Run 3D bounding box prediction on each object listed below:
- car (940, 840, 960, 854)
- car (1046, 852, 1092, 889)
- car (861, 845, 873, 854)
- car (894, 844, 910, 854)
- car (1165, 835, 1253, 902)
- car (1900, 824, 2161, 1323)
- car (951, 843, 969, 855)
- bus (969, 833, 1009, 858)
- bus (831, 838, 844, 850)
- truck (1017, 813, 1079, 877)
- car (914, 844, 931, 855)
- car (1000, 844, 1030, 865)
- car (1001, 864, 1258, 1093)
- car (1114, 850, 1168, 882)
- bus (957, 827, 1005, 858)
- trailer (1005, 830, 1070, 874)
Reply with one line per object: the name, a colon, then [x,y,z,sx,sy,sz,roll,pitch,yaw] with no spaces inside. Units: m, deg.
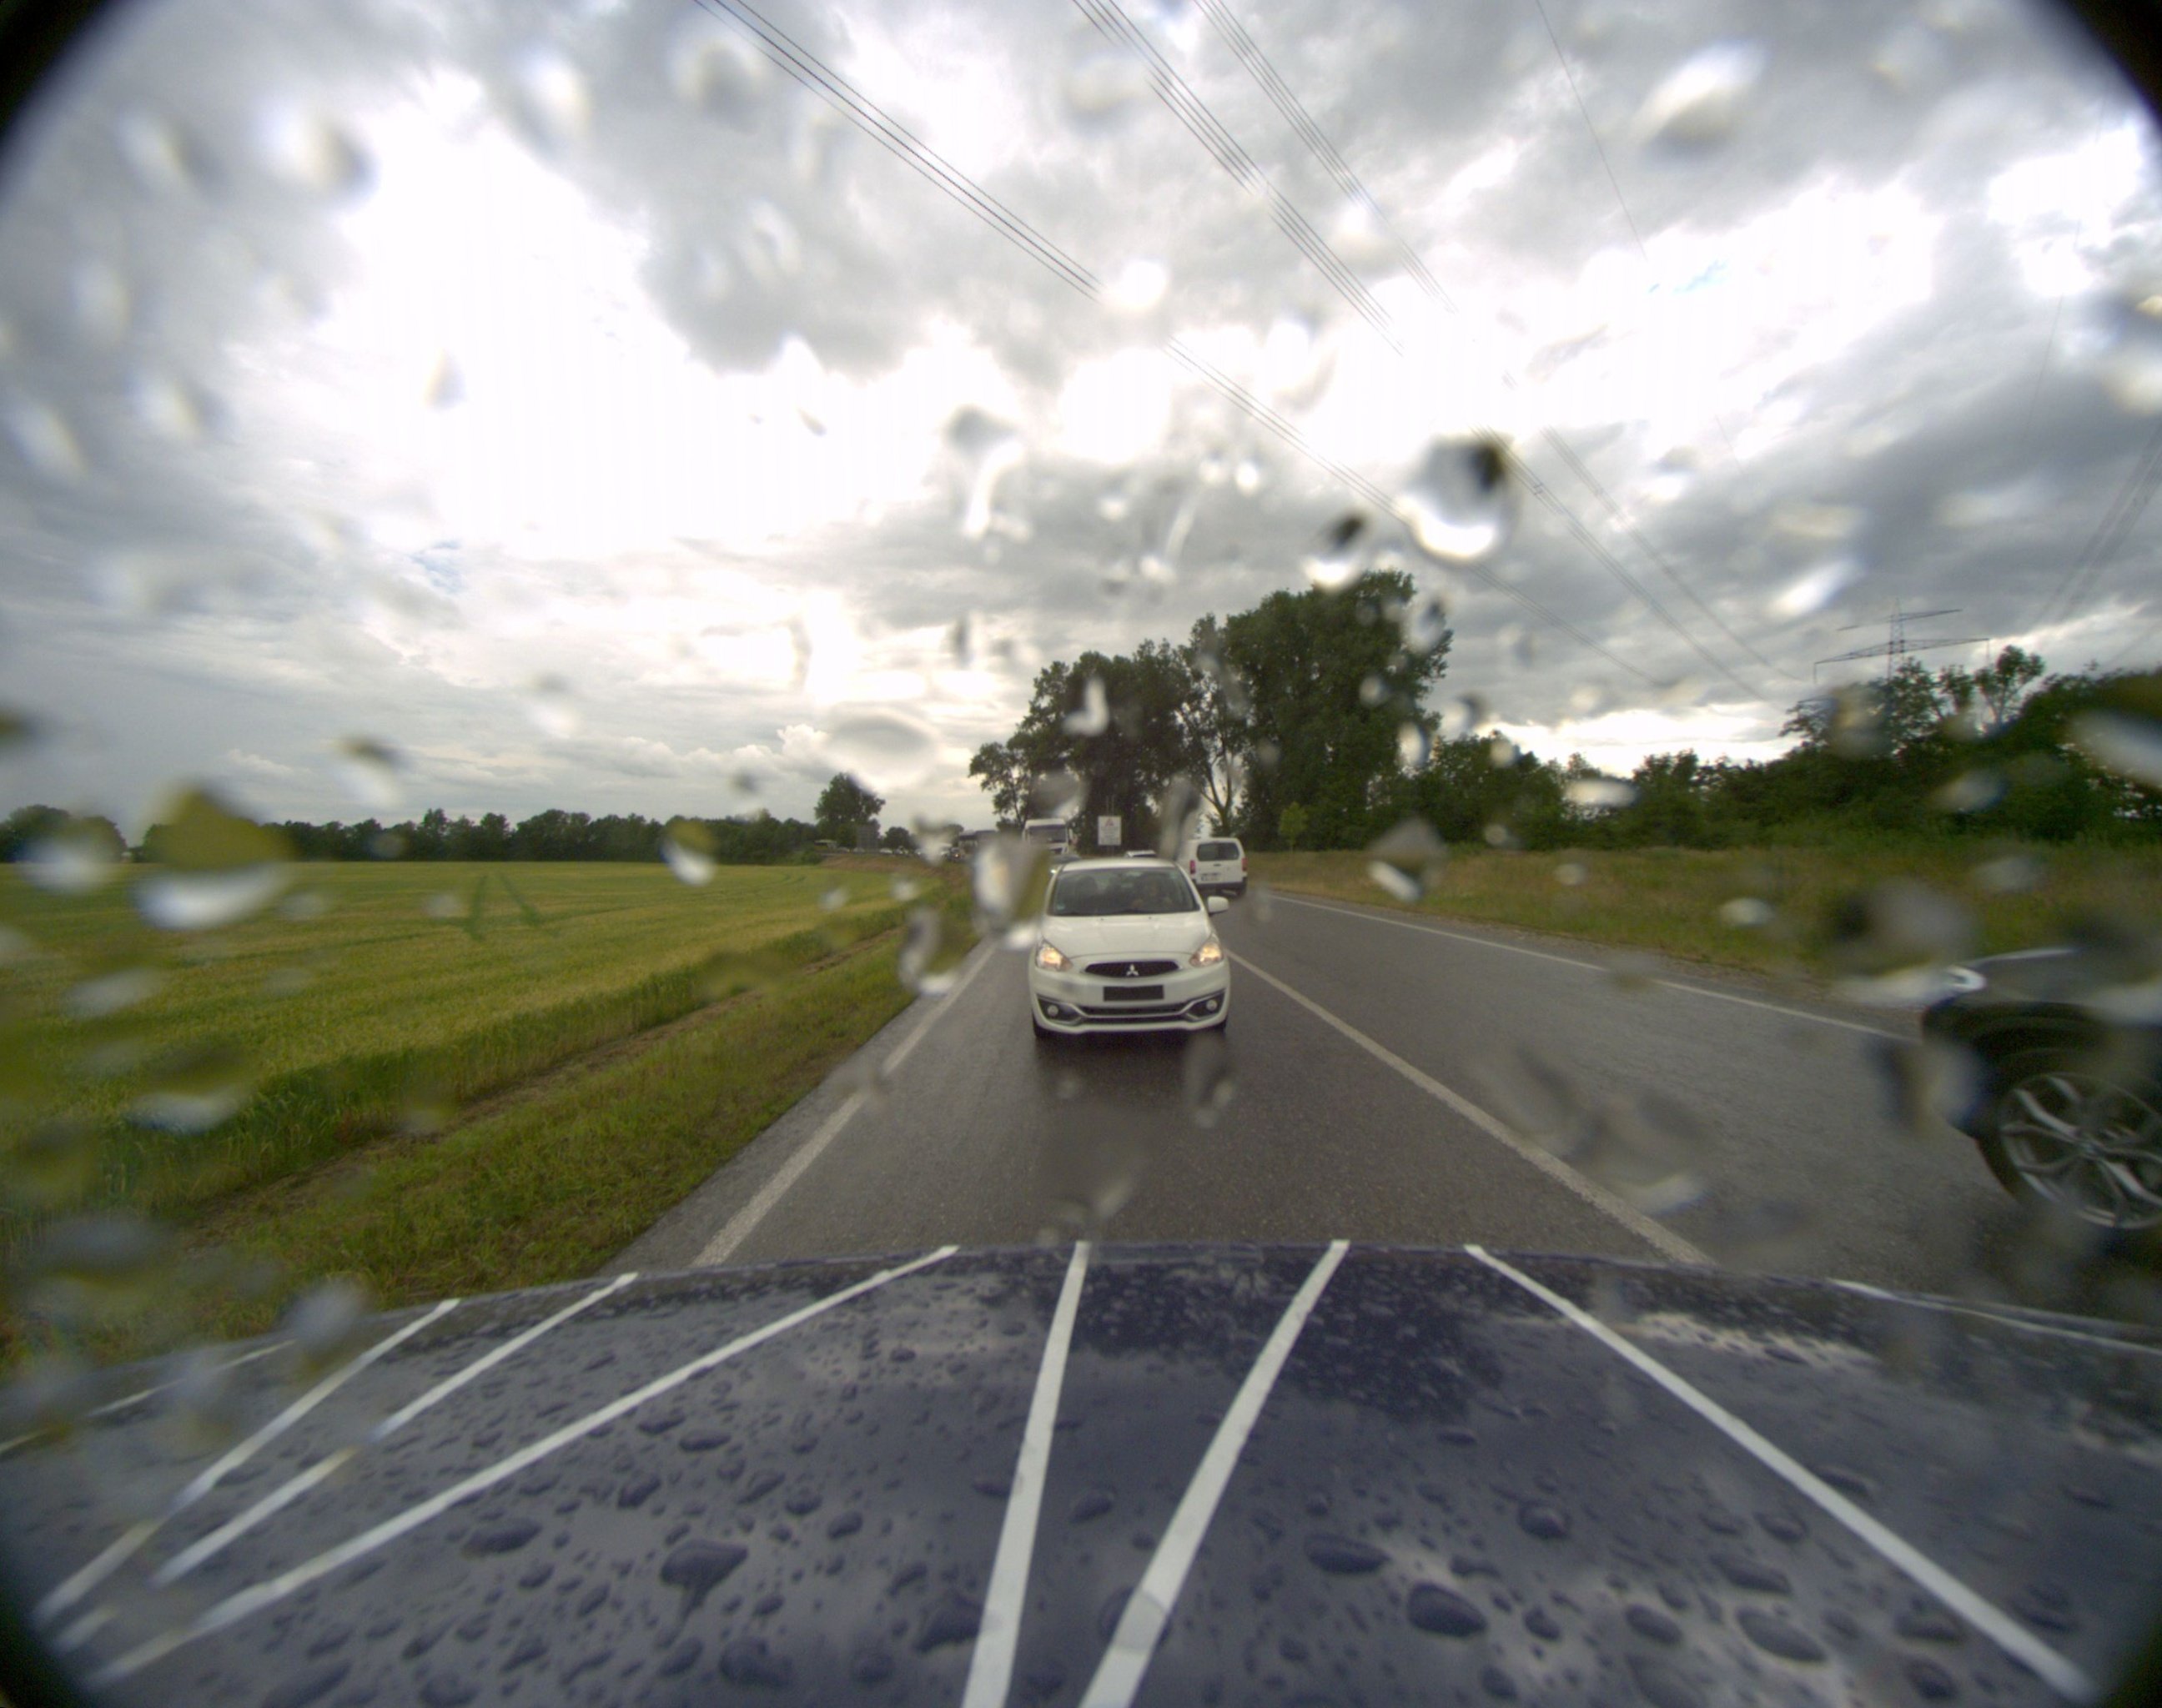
car: [-20.360,-1.113,117.653,2.002,2.002,5.325,-4,2,-21]
car: [-0.632,0.718,35.478,1.782,1.380,4.325,-3,2,-5]
car: [-52.009,-1.159,184.616,2.002,2.002,4.222,-4,2,-27]
car: [-35.657,-0.993,151.569,2.002,2.002,4.222,-4,2,-27]
car: [3.977,0.390,24.312,1.849,1.845,4.445,-3,1,-2]
car: [4.372,0.709,0.974,1.853,1.622,4.534,-1,1,2]
car: [-17.197,-0.758,107.954,1.816,1.569,3.992,-4,2,-20]
bus: [-13.352,-1.160,109.351,2.769,3.279,12.480,-3,1,-20]
bus: [-67.356,-2.754,209.961,2.002,2.899,6.993,-4,2,-27]
truck: [-2.170,-0.586,47.657,2.986,3.590,6.074,-3,2,-9]
car: [-28.597,-0.817,136.824,2.002,2.002,4.223,-4,2,-24]
car: [-6.489,0.038,73.934,2.044,1.832,5.328,-3,2,-13]
car: [0.411,0.871,7.132,1.653,1.461,4.031,-3,-1,3]
car: [2.881,0.532,37.395,1.850,1.380,4.284,-3,1,-5]
bus: [-12.512,-1.490,93.474,2.968,3.294,14.810,-4,3,-18]
trailer: [-3.545,-0.291,56.101,2.986,2.618,15.664,-3,2,-9]
